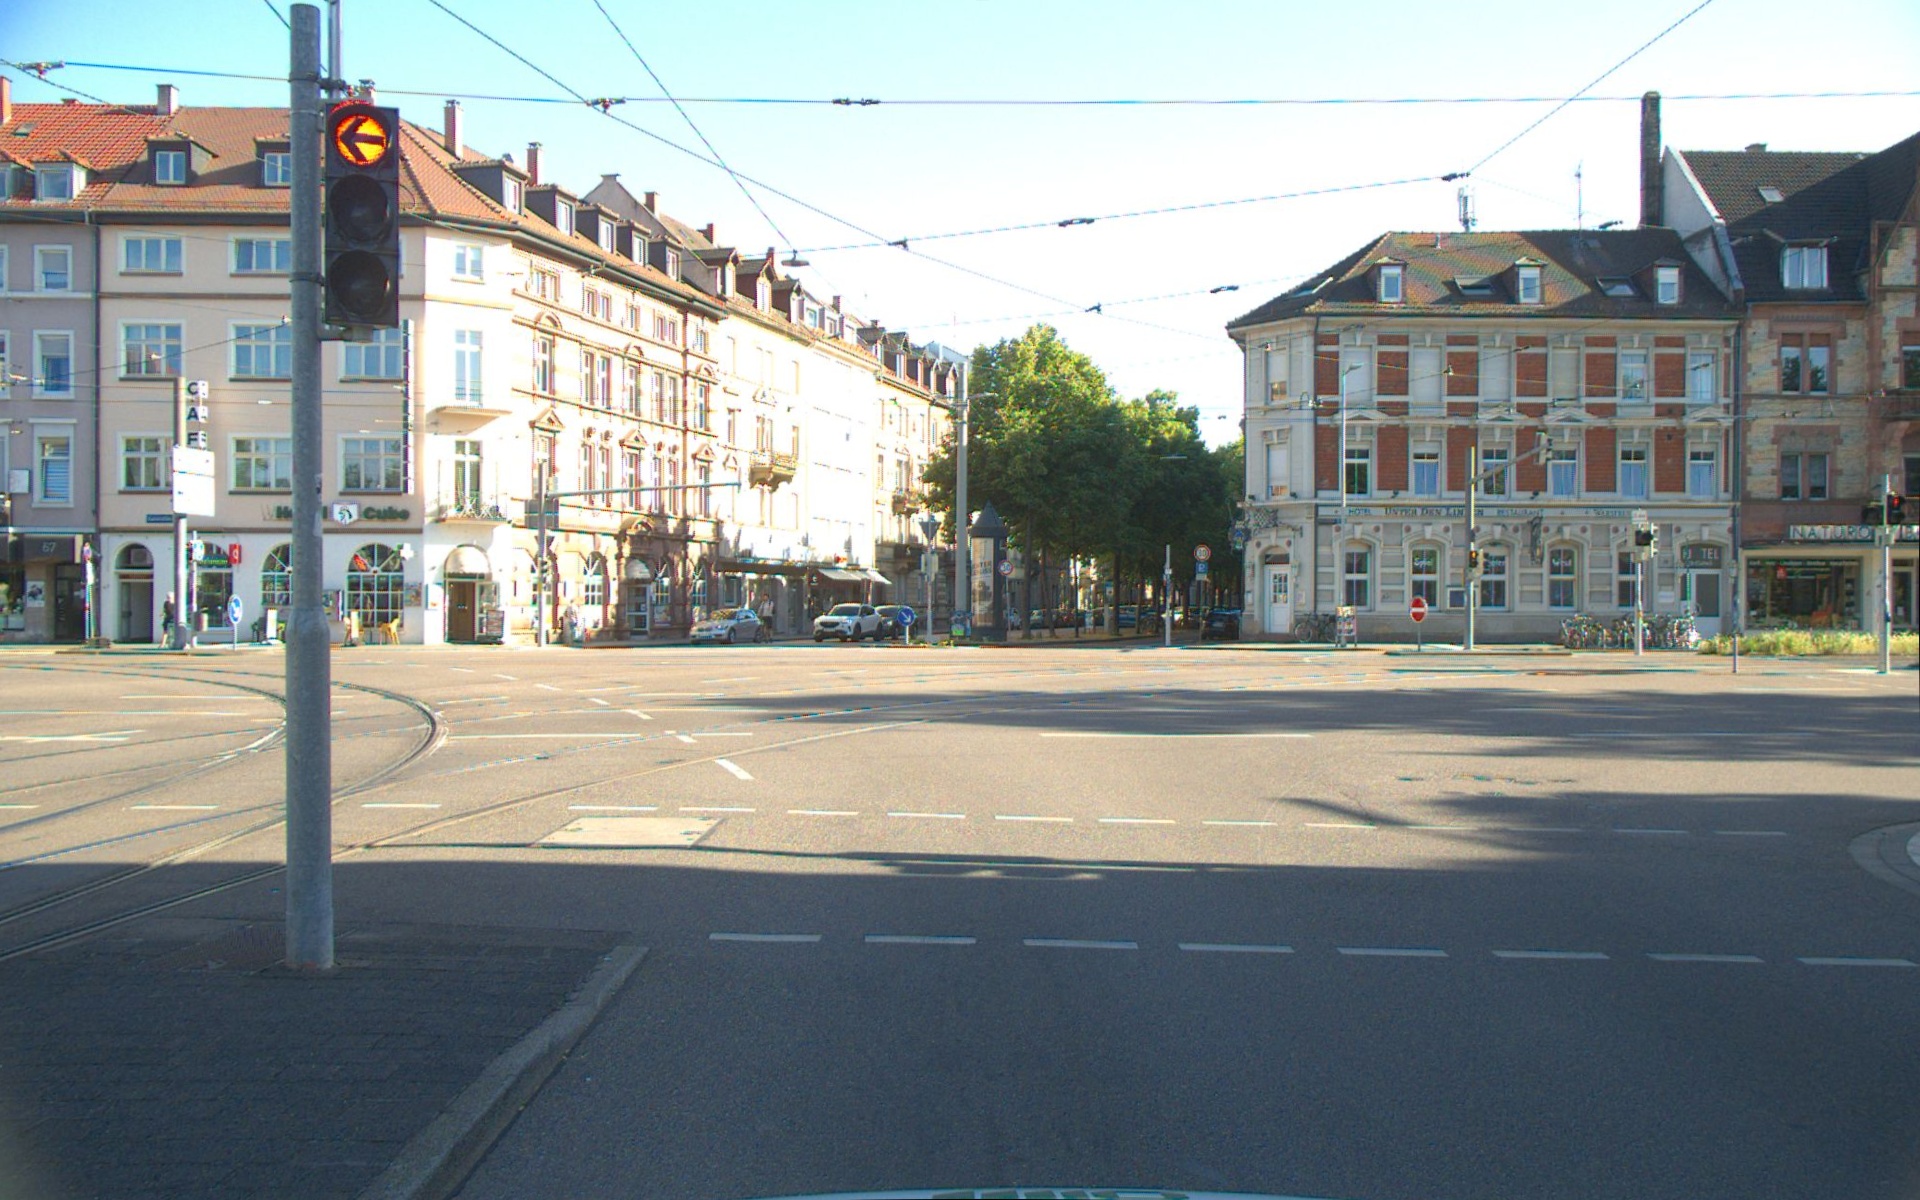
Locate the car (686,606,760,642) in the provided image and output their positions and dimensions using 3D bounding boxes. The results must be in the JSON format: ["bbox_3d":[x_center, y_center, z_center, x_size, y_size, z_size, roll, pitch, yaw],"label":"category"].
[{"bbox_3d":[-9.542,0.932,66.746,1.642,1.378,3.593,0,0,16],"label":"car"}]

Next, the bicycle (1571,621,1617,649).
[{"bbox_3d":[20.478,1.119,53.456,0.645,0.855,2.160,1,0,0],"label":"bicycle"}]

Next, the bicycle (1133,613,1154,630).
[{"bbox_3d":[11.049,1.294,99.628,0.625,1.039,1.840,1,0,-14],"label":"bicycle"}]

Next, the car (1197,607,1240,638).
[{"bbox_3d":[12.956,1.105,82.750,1.642,1.509,3.950,0,0,16],"label":"car"}]

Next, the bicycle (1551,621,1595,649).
[{"bbox_3d":[19.759,1.106,53.369,0.645,0.855,2.160,1,0,0],"label":"bicycle"}]

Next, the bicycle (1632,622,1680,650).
[{"bbox_3d":[22.489,1.154,53.483,0.645,0.855,2.160,1,0,0],"label":"bicycle"}]

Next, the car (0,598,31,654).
[{"bbox_3d":[-32.154,0.788,52.258,4.276,1.741,2.306,1,0,1],"label":"car"}]

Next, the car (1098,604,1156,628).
[{"bbox_3d":[11.712,1.115,115.835,3.819,1.677,1.684,0,0,16],"label":"car"}]

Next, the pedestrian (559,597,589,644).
[{"bbox_3d":[-14.239,0.746,61.000,0.759,1.699,0.831,1,-1,15],"label":"pedestrian"}]

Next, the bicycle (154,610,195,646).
[{"bbox_3d":[-24.661,0.876,51.943,0.561,1.096,1.497,1,0,-1],"label":"bicycle"}]

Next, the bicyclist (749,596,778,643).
[{"bbox_3d":[-7.716,0.765,65.005,0.761,1.834,1.056,1,-1,13],"label":"bicyclist"}]

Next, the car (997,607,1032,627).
[{"bbox_3d":[3.819,1.157,115.516,1.642,1.378,3.593,0,0,16],"label":"car"}]

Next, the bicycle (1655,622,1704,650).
[{"bbox_3d":[23.277,1.167,53.529,0.645,0.855,2.160,1,0,0],"label":"bicycle"}]

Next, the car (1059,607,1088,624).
[{"bbox_3d":[9.314,1.250,135.897,1.642,1.378,3.593,0,0,16],"label":"car"}]

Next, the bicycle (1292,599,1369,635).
[{"bbox_3d":[12.864,0.587,57.459,2.504,1.194,0.818,1,-1,-4],"label":"bicycle"}]

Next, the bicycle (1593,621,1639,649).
[{"bbox_3d":[21.190,1.131,53.470,0.645,0.855,2.160,1,0,0],"label":"bicycle"}]

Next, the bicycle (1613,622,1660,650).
[{"bbox_3d":[21.861,1.143,53.503,0.645,0.855,2.160,1,0,0],"label":"bicycle"}]

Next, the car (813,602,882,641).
[{"bbox_3d":[-4.538,0.841,67.228,1.642,1.509,3.774,0,0,16],"label":"car"}]

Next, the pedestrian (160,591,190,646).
[{"bbox_3d":[-24.655,0.581,51.947,0.570,1.699,0.752,1,-1,-1],"label":"pedestrian"}]

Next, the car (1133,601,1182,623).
[{"bbox_3d":[15.317,0.958,128.248,3.503,1.677,1.684,0,0,16],"label":"car"}]

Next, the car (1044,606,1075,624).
[{"bbox_3d":[7.890,1.213,130.845,1.642,1.378,3.593,0,0,16],"label":"car"}]

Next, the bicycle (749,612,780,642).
[{"bbox_3d":[-7.683,1.045,65.128,0.687,1.137,1.636,1,0,13],"label":"bicycle"}]

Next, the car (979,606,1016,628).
[{"bbox_3d":[2.562,1.138,111.341,1.642,1.378,3.593,0,0,16],"label":"car"}]

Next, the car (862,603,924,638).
[{"bbox_3d":[-2.950,0.886,73.553,1.642,1.509,3.950,0,0,16],"label":"car"}]

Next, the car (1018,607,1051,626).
[{"bbox_3d":[5.531,1.188,122.503,1.642,1.378,3.593,0,0,16],"label":"car"}]

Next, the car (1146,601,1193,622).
[{"bbox_3d":[16.939,0.884,133.748,3.503,1.677,1.684,0,0,16],"label":"car"}]
